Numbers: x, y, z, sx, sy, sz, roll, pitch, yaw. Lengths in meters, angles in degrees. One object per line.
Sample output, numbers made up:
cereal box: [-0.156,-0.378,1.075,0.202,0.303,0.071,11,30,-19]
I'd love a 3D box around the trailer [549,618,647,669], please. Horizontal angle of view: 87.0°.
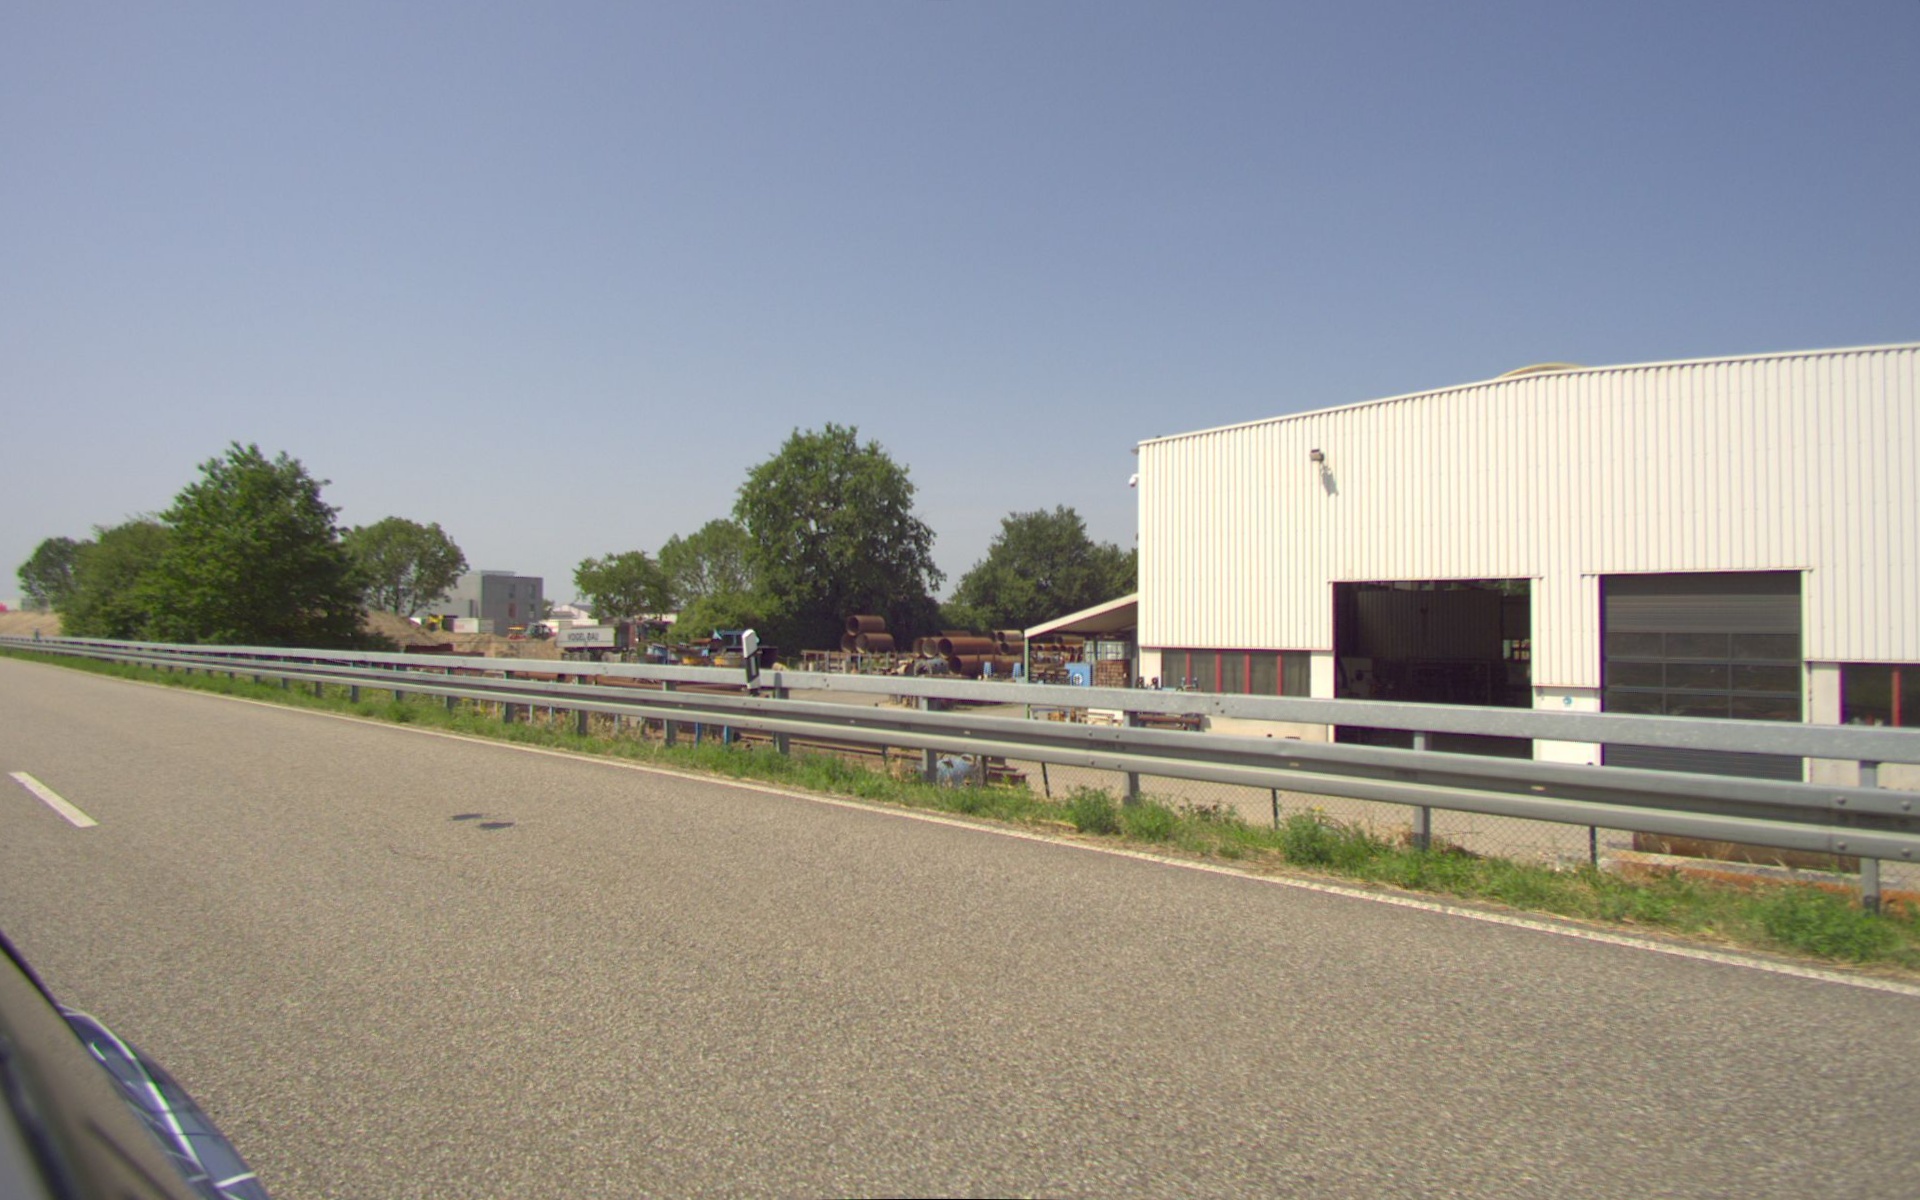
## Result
trailer: [-25.029,2.920,69.684,8.804,3.248,2.414,-1,0,41]

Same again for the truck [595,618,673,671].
truck: [-21.437,2.844,66.342,2.411,3.248,5.887,-1,0,-45]
